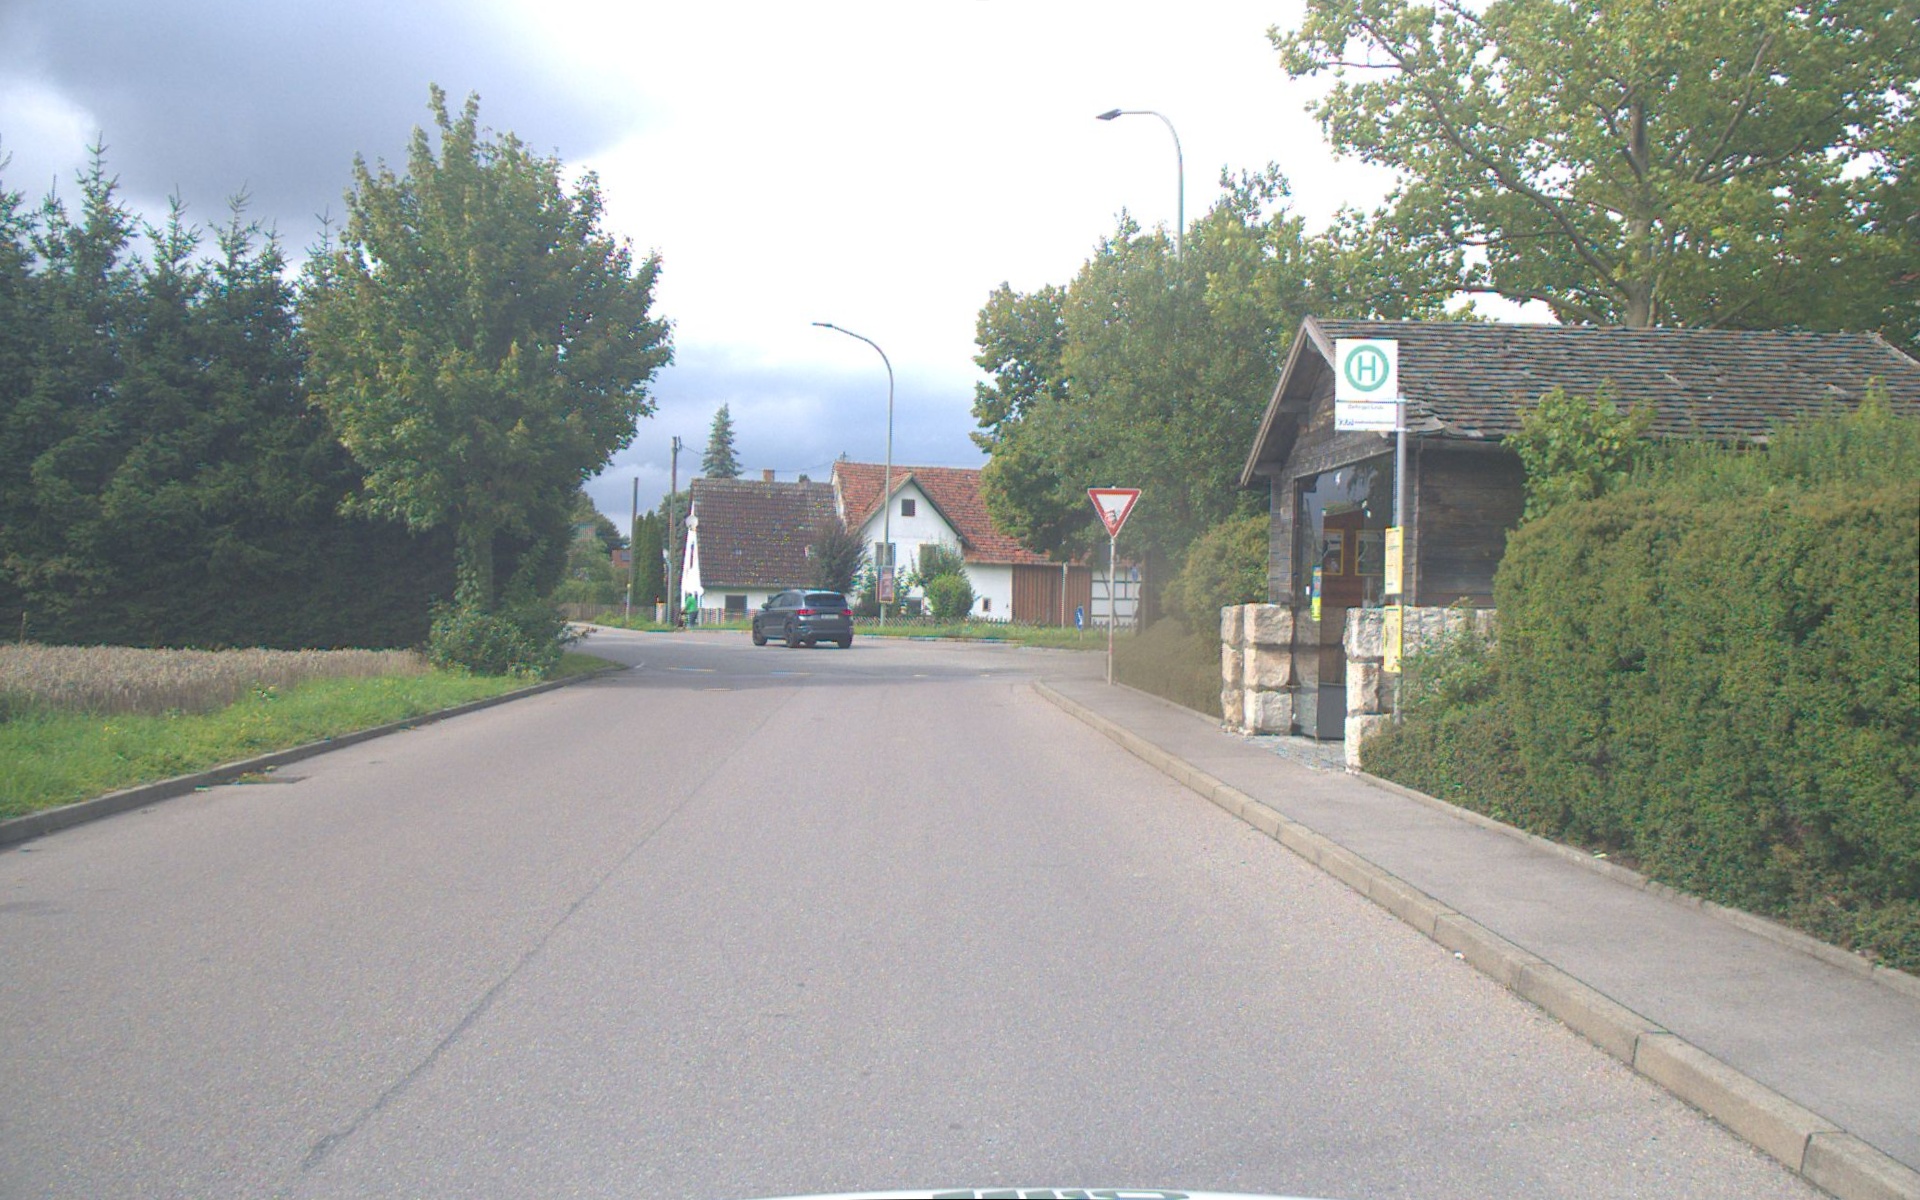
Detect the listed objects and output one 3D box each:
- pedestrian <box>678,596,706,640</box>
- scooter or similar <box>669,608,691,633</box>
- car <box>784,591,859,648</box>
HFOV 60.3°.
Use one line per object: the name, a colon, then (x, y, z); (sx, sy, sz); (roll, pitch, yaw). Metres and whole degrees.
pedestrian: (-10.912, 0.723, 67.425); (0.782, 1.694, 0.703); (6, -3, -35)
scooter or similar: (-11.483, 0.836, 67.888); (0.625, 0.964, 0.615); (6, -3, -35)
car: (-3.837, 0.526, 46.199); (1.762, 1.488, 3.662); (1, 0, 0)
